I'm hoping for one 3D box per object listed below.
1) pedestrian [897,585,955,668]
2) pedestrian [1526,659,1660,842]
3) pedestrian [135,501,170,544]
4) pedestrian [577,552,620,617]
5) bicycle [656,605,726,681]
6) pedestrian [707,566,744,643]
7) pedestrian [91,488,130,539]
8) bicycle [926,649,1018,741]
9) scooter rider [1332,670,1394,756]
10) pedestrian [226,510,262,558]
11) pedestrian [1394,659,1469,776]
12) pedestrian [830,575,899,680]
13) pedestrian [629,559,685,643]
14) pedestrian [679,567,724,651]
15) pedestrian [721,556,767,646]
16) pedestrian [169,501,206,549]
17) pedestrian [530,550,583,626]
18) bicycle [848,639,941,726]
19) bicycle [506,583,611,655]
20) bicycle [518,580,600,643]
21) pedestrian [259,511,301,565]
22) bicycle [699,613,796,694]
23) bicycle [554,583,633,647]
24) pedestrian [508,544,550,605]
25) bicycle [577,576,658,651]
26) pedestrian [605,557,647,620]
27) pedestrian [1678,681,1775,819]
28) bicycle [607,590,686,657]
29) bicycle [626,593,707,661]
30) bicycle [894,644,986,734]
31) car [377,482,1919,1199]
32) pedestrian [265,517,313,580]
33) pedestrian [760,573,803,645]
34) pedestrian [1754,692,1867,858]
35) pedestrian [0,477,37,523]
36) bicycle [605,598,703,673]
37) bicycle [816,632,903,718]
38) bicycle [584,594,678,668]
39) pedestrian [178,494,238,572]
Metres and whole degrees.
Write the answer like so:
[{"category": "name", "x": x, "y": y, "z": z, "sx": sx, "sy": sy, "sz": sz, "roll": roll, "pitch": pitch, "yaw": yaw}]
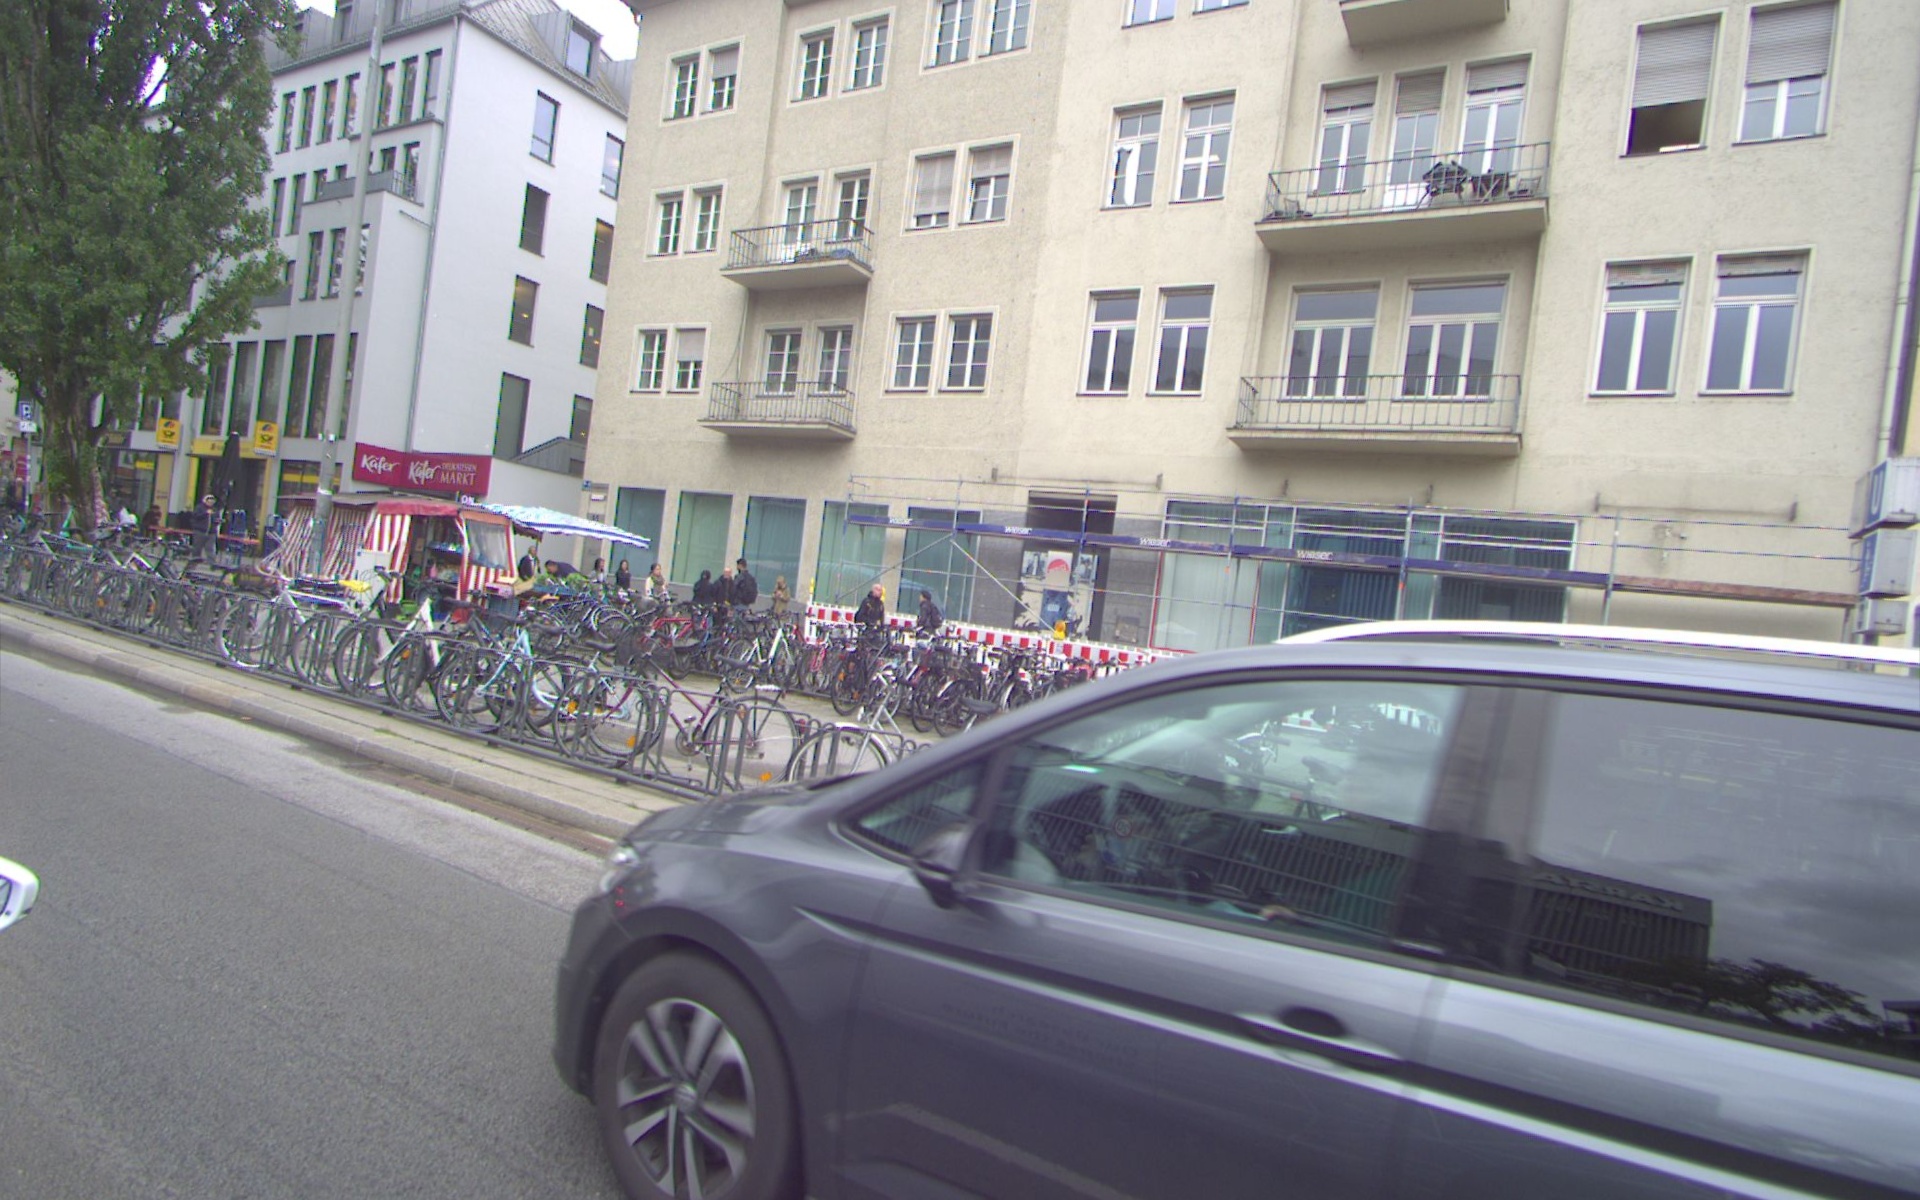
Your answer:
[{"category": "pedestrian", "x": -0.700, "y": 0.554, "z": 20.748, "sx": 0.774, "sy": 1.588, "sz": 0.649, "roll": 8, "pitch": 1, "yaw": 32}, {"category": "pedestrian", "x": 6.647, "y": 1.565, "z": 10.578, "sx": 0.807, "sy": 1.750, "sz": 0.751, "roll": 5, "pitch": 2, "yaw": -34}, {"category": "pedestrian", "x": -27.193, "y": -2.607, "z": 33.866, "sx": 0.665, "sy": 1.322, "sz": 0.639, "roll": 7, "pitch": 1, "yaw": 31}, {"category": "pedestrian", "x": -8.510, "y": -0.358, "z": 23.675, "sx": 0.570, "sy": 1.420, "sz": 0.599, "roll": 8, "pitch": 1, "yaw": 31}, {"category": "bicycle", "x": -3.727, "y": 0.592, "z": 14.014, "sx": 0.362, "sy": 0.975, "sz": 1.229, "roll": 7, "pitch": 0, "yaw": 9}, {"category": "pedestrian", "x": -4.828, "y": 0.084, "z": 20.678, "sx": 0.501, "sy": 1.502, "sz": 0.462, "roll": 6, "pitch": 1, "yaw": -24}, {"category": "pedestrian", "x": -28.534, "y": -2.904, "z": 33.779, "sx": 0.665, "sy": 1.578, "sz": 0.714, "roll": 7, "pitch": 1, "yaw": 31}, {"category": "bicycle", "x": 0.152, "y": 1.095, "z": 11.643, "sx": 0.363, "sy": 0.975, "sz": 1.133, "roll": 8, "pitch": 1, "yaw": 37}, {"category": "scooter rider", "x": 6.432, "y": 1.781, "z": 16.055, "sx": 0.707, "sy": 1.235, "sz": 0.686, "roll": 8, "pitch": 2, "yaw": 29}, {"category": "pedestrian", "x": -25.263, "y": -2.333, "z": 35.511, "sx": 0.665, "sy": 1.578, "sz": 0.714, "roll": 7, "pitch": 1, "yaw": 31}, {"category": "pedestrian", "x": 6.799, "y": 1.658, "z": 14.496, "sx": 0.745, "sy": 1.537, "sz": 0.778, "roll": 8, "pitch": 2, "yaw": 29}, {"category": "pedestrian", "x": -1.687, "y": 0.488, "z": 17.848, "sx": 0.745, "sy": 1.750, "sz": 0.743, "roll": 8, "pitch": 2, "yaw": 31}, {"category": "pedestrian", "x": -6.002, "y": 0.011, "z": 19.895, "sx": 0.801, "sy": 1.541, "sz": 0.795, "roll": 7, "pitch": 1, "yaw": -26}, {"category": "pedestrian", "x": -5.004, "y": 0.169, "z": 19.457, "sx": 0.574, "sy": 1.523, "sz": 0.612, "roll": 7, "pitch": 1, "yaw": -28}, {"category": "pedestrian", "x": -4.273, "y": 0.013, "z": 19.870, "sx": 0.594, "sy": 1.690, "sz": 0.681, "roll": 6, "pitch": 1, "yaw": -24}, {"category": "pedestrian", "x": -27.328, "y": -2.641, "z": 35.578, "sx": 0.665, "sy": 1.578, "sz": 0.714, "roll": 7, "pitch": 1, "yaw": 31}, {"category": "pedestrian", "x": -8.167, "y": -0.237, "z": 20.349, "sx": 0.648, "sy": 1.443, "sz": 0.616, "roll": 8, "pitch": 1, "yaw": 36}, {"category": "bicycle", "x": -0.773, "y": 0.999, "z": 12.175, "sx": 0.363, "sy": 0.975, "sz": 1.181, "roll": 8, "pitch": 1, "yaw": 35}, {"category": "bicycle", "x": -6.097, "y": 0.305, "z": 15.343, "sx": 0.363, "sy": 0.975, "sz": 1.431, "roll": 8, "pitch": 0, "yaw": 36}, {"category": "bicycle", "x": -6.820, "y": 0.206, "z": 17.153, "sx": 0.363, "sy": 0.975, "sz": 1.246, "roll": 8, "pitch": 0, "yaw": 29}, {"category": "pedestrian", "x": -21.854, "y": -1.988, "z": 32.321, "sx": 0.729, "sy": 1.622, "sz": 0.733, "roll": 7, "pitch": 1, "yaw": 31}, {"category": "bicycle", "x": -2.777, "y": 0.709, "z": 13.279, "sx": 0.363, "sy": 0.975, "sz": 1.405, "roll": 7, "pitch": 0, "yaw": 26}, {"category": "bicycle", "x": -6.235, "y": 0.269, "z": 17.157, "sx": 0.363, "sy": 0.975, "sz": 1.246, "roll": 8, "pitch": 0, "yaw": 29}, {"category": "pedestrian", "x": -10.736, "y": -0.634, "z": 25.071, "sx": 0.570, "sy": 1.420, "sz": 0.599, "roll": 8, "pitch": 1, "yaw": 31}, {"category": "bicycle", "x": -5.678, "y": 0.244, "z": 16.729, "sx": 0.363, "sy": 1.154, "sz": 1.246, "roll": 8, "pitch": 1, "yaw": 29}, {"category": "pedestrian", "x": -8.045, "y": -0.270, "z": 24.241, "sx": 0.570, "sy": 1.420, "sz": 0.575, "roll": 8, "pitch": 1, "yaw": 31}, {"category": "pedestrian", "x": 10.246, "y": 1.974, "z": 13.476, "sx": 0.745, "sy": 1.672, "sz": 0.751, "roll": 8, "pitch": 2, "yaw": 29}, {"category": "bicycle", "x": -5.126, "y": 0.399, "z": 16.503, "sx": 0.363, "sy": 0.993, "sz": 1.246, "roll": 8, "pitch": 0, "yaw": 29}, {"category": "bicycle", "x": -4.691, "y": 0.449, "z": 16.131, "sx": 0.363, "sy": 0.993, "sz": 1.246, "roll": 8, "pitch": 0, "yaw": 29}, {"category": "bicycle", "x": -0.224, "y": 1.047, "z": 11.852, "sx": 0.363, "sy": 0.975, "sz": 1.133, "roll": 8, "pitch": 1, "yaw": 37}, {"category": "car", "x": 0.821, "y": 0.802, "z": 2.453, "sx": 4.629, "sy": 1.667, "sz": 1.774, "roll": 7, "pitch": 0, "yaw": 31}, {"category": "pedestrian", "x": -18.727, "y": -1.432, "z": 28.095, "sx": 0.729, "sy": 1.622, "sz": 0.733, "roll": 7, "pitch": 1, "yaw": 31}, {"category": "pedestrian", "x": -4.323, "y": 0.231, "z": 24.377, "sx": 0.553, "sy": 1.665, "sz": 0.641, "roll": 8, "pitch": 1, "yaw": 31}, {"category": "pedestrian", "x": 9.559, "y": 1.934, "z": 11.337, "sx": 0.710, "sy": 1.692, "sz": 0.657, "roll": 8, "pitch": 2, "yaw": 34}, {"category": "pedestrian", "x": -35.889, "y": -3.800, "z": 38.354, "sx": 0.665, "sy": 1.613, "sz": 0.765, "roll": 7, "pitch": 1, "yaw": 31}, {"category": "bicycle", "x": -4.384, "y": 0.522, "z": 14.451, "sx": 0.364, "sy": 0.975, "sz": 1.259, "roll": 8, "pitch": 1, "yaw": 40}, {"category": "bicycle", "x": -1.228, "y": 0.923, "z": 12.446, "sx": 0.363, "sy": 0.975, "sz": 1.183, "roll": 8, "pitch": 0, "yaw": 29}, {"category": "bicycle", "x": -4.790, "y": 0.466, "z": 14.692, "sx": 0.363, "sy": 0.975, "sz": 1.262, "roll": 8, "pitch": 0, "yaw": 34}, {"category": "pedestrian", "x": -18.096, "y": -1.604, "z": 24.208, "sx": 0.751, "sy": 1.749, "sz": 0.791, "roll": 8, "pitch": 1, "yaw": 31}]
